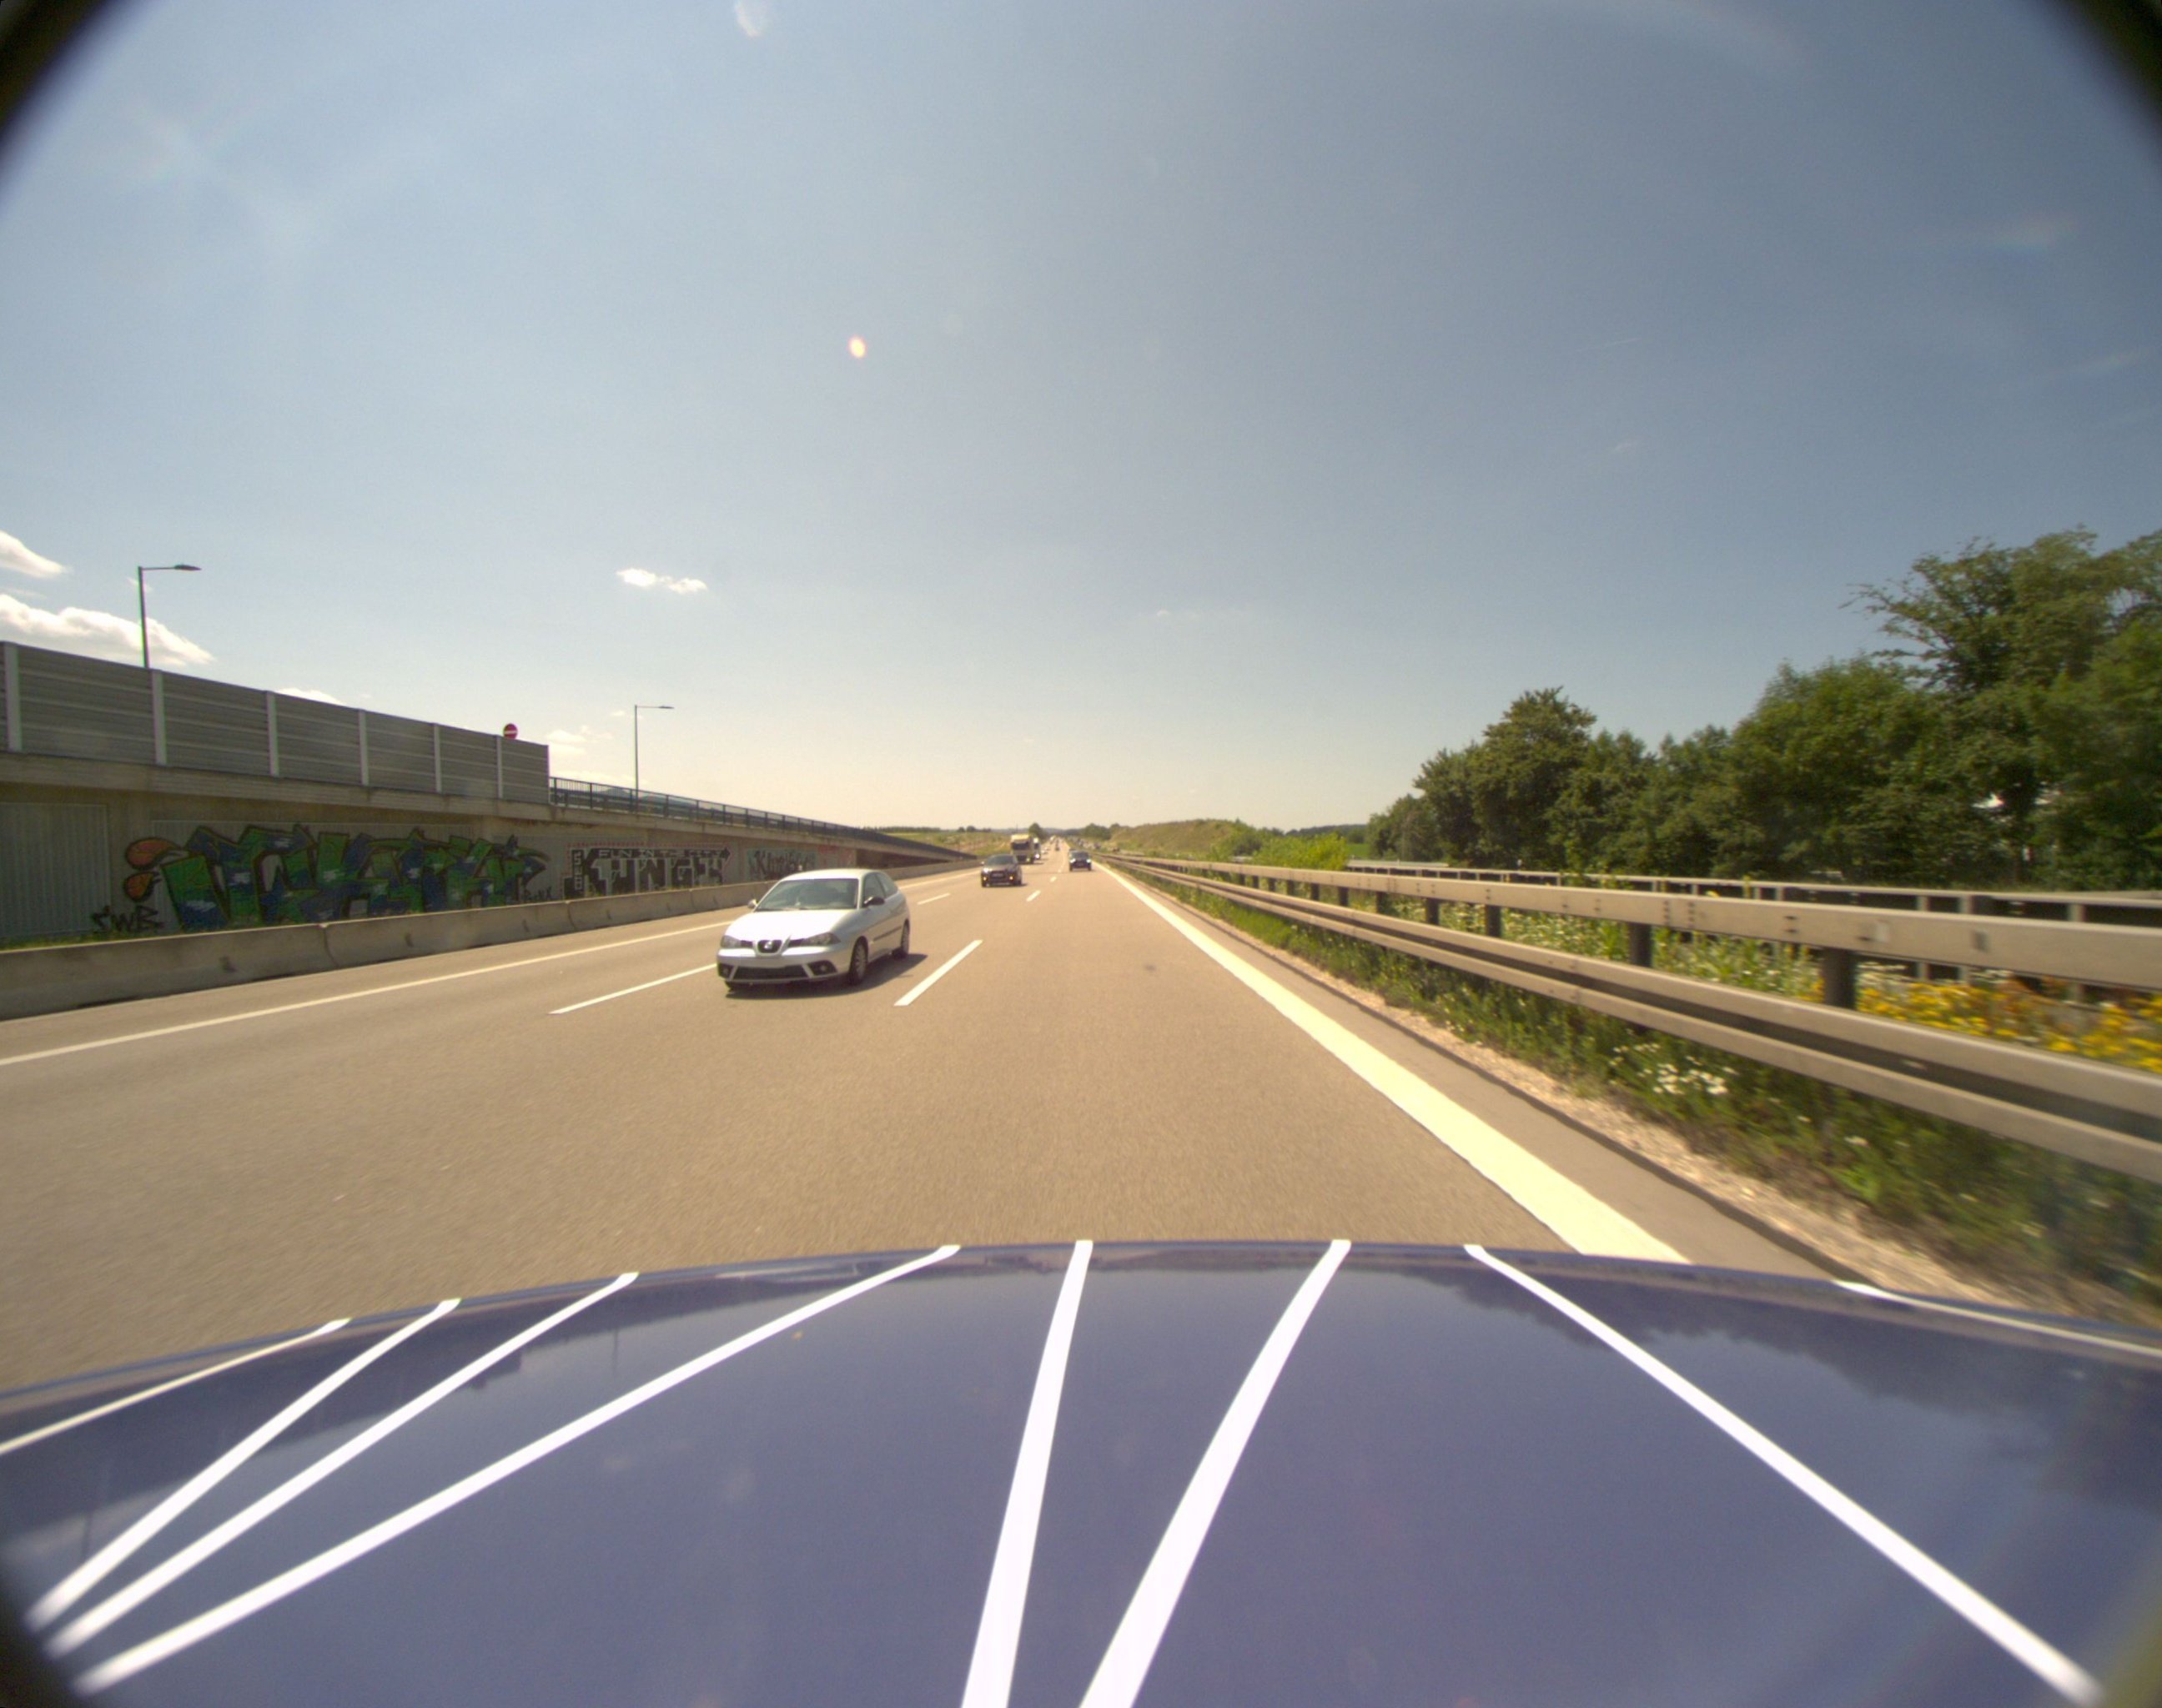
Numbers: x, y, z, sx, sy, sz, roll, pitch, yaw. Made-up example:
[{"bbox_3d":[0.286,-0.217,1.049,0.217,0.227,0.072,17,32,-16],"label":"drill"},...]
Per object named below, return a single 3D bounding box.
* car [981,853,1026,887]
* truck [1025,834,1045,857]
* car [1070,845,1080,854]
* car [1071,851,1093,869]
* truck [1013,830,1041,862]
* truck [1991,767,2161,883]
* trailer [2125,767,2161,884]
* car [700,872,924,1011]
[{"bbox_3d":[-3.909,0.766,38.876,1.751,1.559,3.999,-2,1,1],"label":"car"},{"bbox_3d":[-8.611,-1.575,142.926,3.368,3.976,11.734,-1,0,-2],"label":"truck"},{"bbox_3d":[-1.466,-1.063,185.660,1.998,2.002,4.000,-2,1,2],"label":"car"},{"bbox_3d":[0.128,0.462,64.278,1.751,1.439,4.000,-1,1,1],"label":"car"},{"bbox_3d":[-7.409,-1.099,105.323,3.368,4.037,11.733,-2,1,-2],"label":"truck"},{"bbox_3d":[34.096,-0.940,24.628,1.998,3.543,6.022,-2,1,1],"label":"truck"},{"bbox_3d":[34.012,-0.853,18.504,1.998,3.580,11.105,-2,1,1],"label":"trailer"},{"bbox_3d":[-3.479,1.045,10.659,1.634,1.381,3.999,-2,1,1],"label":"car"}]
